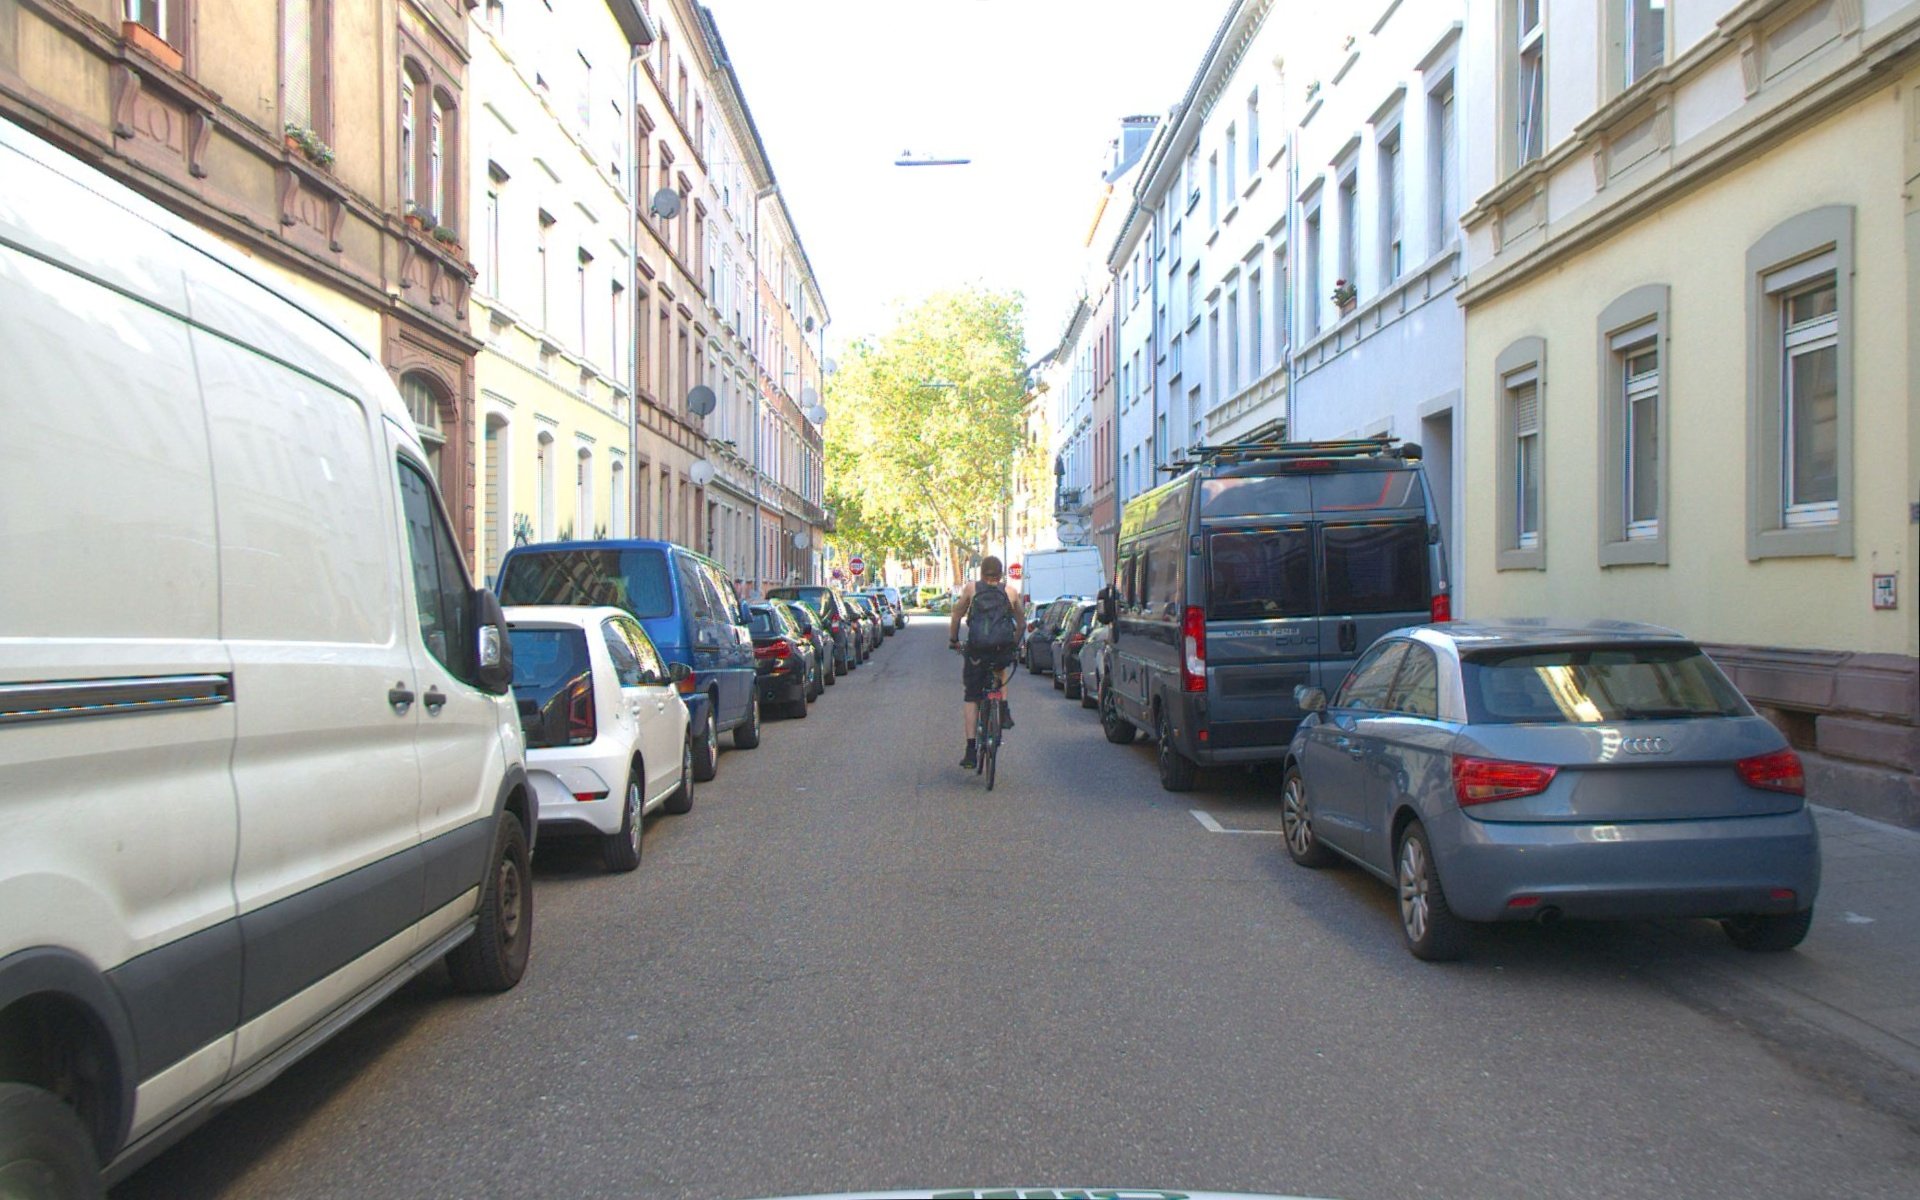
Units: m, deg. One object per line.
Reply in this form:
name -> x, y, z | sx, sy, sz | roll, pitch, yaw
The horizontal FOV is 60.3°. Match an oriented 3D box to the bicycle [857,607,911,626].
bicycle -> -3.753, 0.812, 82.091 | 2.661, 0.907, 0.618 | -1, 0, -3

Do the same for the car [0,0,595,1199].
car -> -2.659, 0.233, 4.524 | 2.124, 2.495, 5.919 | -2, 0, -2

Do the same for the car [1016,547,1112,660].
car -> 2.508, 0.071, 41.358 | 2.159, 2.595, 6.037 | -1, 0, 1

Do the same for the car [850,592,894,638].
car -> -3.217, 0.525, 60.230 | 1.514, 1.578, 3.462 | -1, 0, -4

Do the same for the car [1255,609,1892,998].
car -> 2.767, 0.805, 8.530 | 1.712, 1.469, 4.171 | 0, 0, -1

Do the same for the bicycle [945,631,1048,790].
bicycle -> 0.264, 0.845, 13.332 | 0.725, 1.120, 2.041 | 1, 0, -1

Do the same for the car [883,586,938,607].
car -> -4.112, -0.299, 136.953 | 4.382, 1.725, 1.864 | -1, 0, -5

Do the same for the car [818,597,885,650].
car -> -3.094, 0.651, 47.897 | 1.671, 1.438, 4.301 | -1, 0, -1

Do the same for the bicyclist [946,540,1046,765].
bicyclist -> 0.272, 0.403, 13.243 | 0.725, 1.708, 1.116 | 1, 0, -1

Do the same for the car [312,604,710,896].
car -> -2.636, 0.785, 10.579 | 1.612, 1.472, 3.838 | -1, 0, -2

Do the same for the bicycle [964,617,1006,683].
bicycle -> 0.415, 0.834, 28.189 | 0.650, 1.055, 1.958 | -1, 0, -1

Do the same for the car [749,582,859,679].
car -> -3.035, 0.557, 32.884 | 1.764, 1.728, 3.999 | -3, 0, -1

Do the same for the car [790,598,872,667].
car -> -2.902, 0.701, 37.864 | 1.559, 1.465, 3.653 | -1, 0, 0

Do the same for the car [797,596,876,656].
car -> -3.152, 0.629, 42.837 | 1.639, 1.455, 3.889 | -1, 0, 2

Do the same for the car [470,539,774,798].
car -> -2.889, 0.520, 15.171 | 1.790, 1.924, 4.613 | -3, 0, -1

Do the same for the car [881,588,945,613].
car -> -3.334, 0.033, 116.766 | 4.382, 1.725, 1.864 | -1, 0, -5

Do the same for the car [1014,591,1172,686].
car -> 2.385, 0.649, 30.861 | 1.778, 1.503, 4.597 | -4, 1, -10

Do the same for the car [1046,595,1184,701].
car -> 2.355, 0.686, 26.077 | 1.710, 1.511, 4.242 | -1, 0, -1

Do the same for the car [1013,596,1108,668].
car -> 2.134, 0.646, 35.909 | 1.690, 1.454, 3.831 | -1, 0, -2

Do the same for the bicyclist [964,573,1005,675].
bicyclist -> 0.416, 0.397, 28.128 | 0.656, 1.687, 0.877 | -1, 0, -1

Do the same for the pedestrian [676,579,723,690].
pedestrian -> -4.433, 0.583, 28.189 | 0.637, 1.849, 0.754 | 2, 0, 0

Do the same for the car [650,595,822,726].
car -> -2.834, 0.710, 21.865 | 1.824, 1.465, 4.643 | -1, 1, -3

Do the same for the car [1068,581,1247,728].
car -> 2.431, 0.624, 21.327 | 1.659, 1.636, 4.374 | -2, 0, -1

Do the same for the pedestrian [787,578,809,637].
pedestrian -> -5.250, 0.244, 53.632 | 0.598, 1.890, 0.754 | 2, 0, -1

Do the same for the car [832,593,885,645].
car -> -3.207, 0.575, 52.855 | 1.572, 1.556, 3.377 | -2, 0, -2

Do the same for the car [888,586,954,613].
car -> -2.648, -0.044, 111.699 | 4.382, 1.790, 1.864 | -1, 0, -5

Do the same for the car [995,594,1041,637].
car -> 2.100, 0.537, 60.678 | 1.559, 1.518, 3.875 | -1, 0, 0

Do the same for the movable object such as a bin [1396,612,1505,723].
movable object such as a bin -> 5.071, 0.687, 17.148 | 0.846, 1.060, 0.707 | -3, 0, -3

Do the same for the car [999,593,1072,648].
car -> 2.143, 0.571, 47.882 | 1.697, 1.496, 4.018 | -1, 0, -3

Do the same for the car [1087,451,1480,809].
car -> 2.530, 0.193, 14.840 | 2.131, 2.467, 6.308 | -2, 0, -1

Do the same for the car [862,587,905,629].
car -> -3.345, 0.335, 72.431 | 1.751, 1.767, 3.875 | -1, 0, -1

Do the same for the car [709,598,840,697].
car -> -2.943, 0.716, 26.925 | 1.701, 1.452, 4.000 | -1, 0, -1
